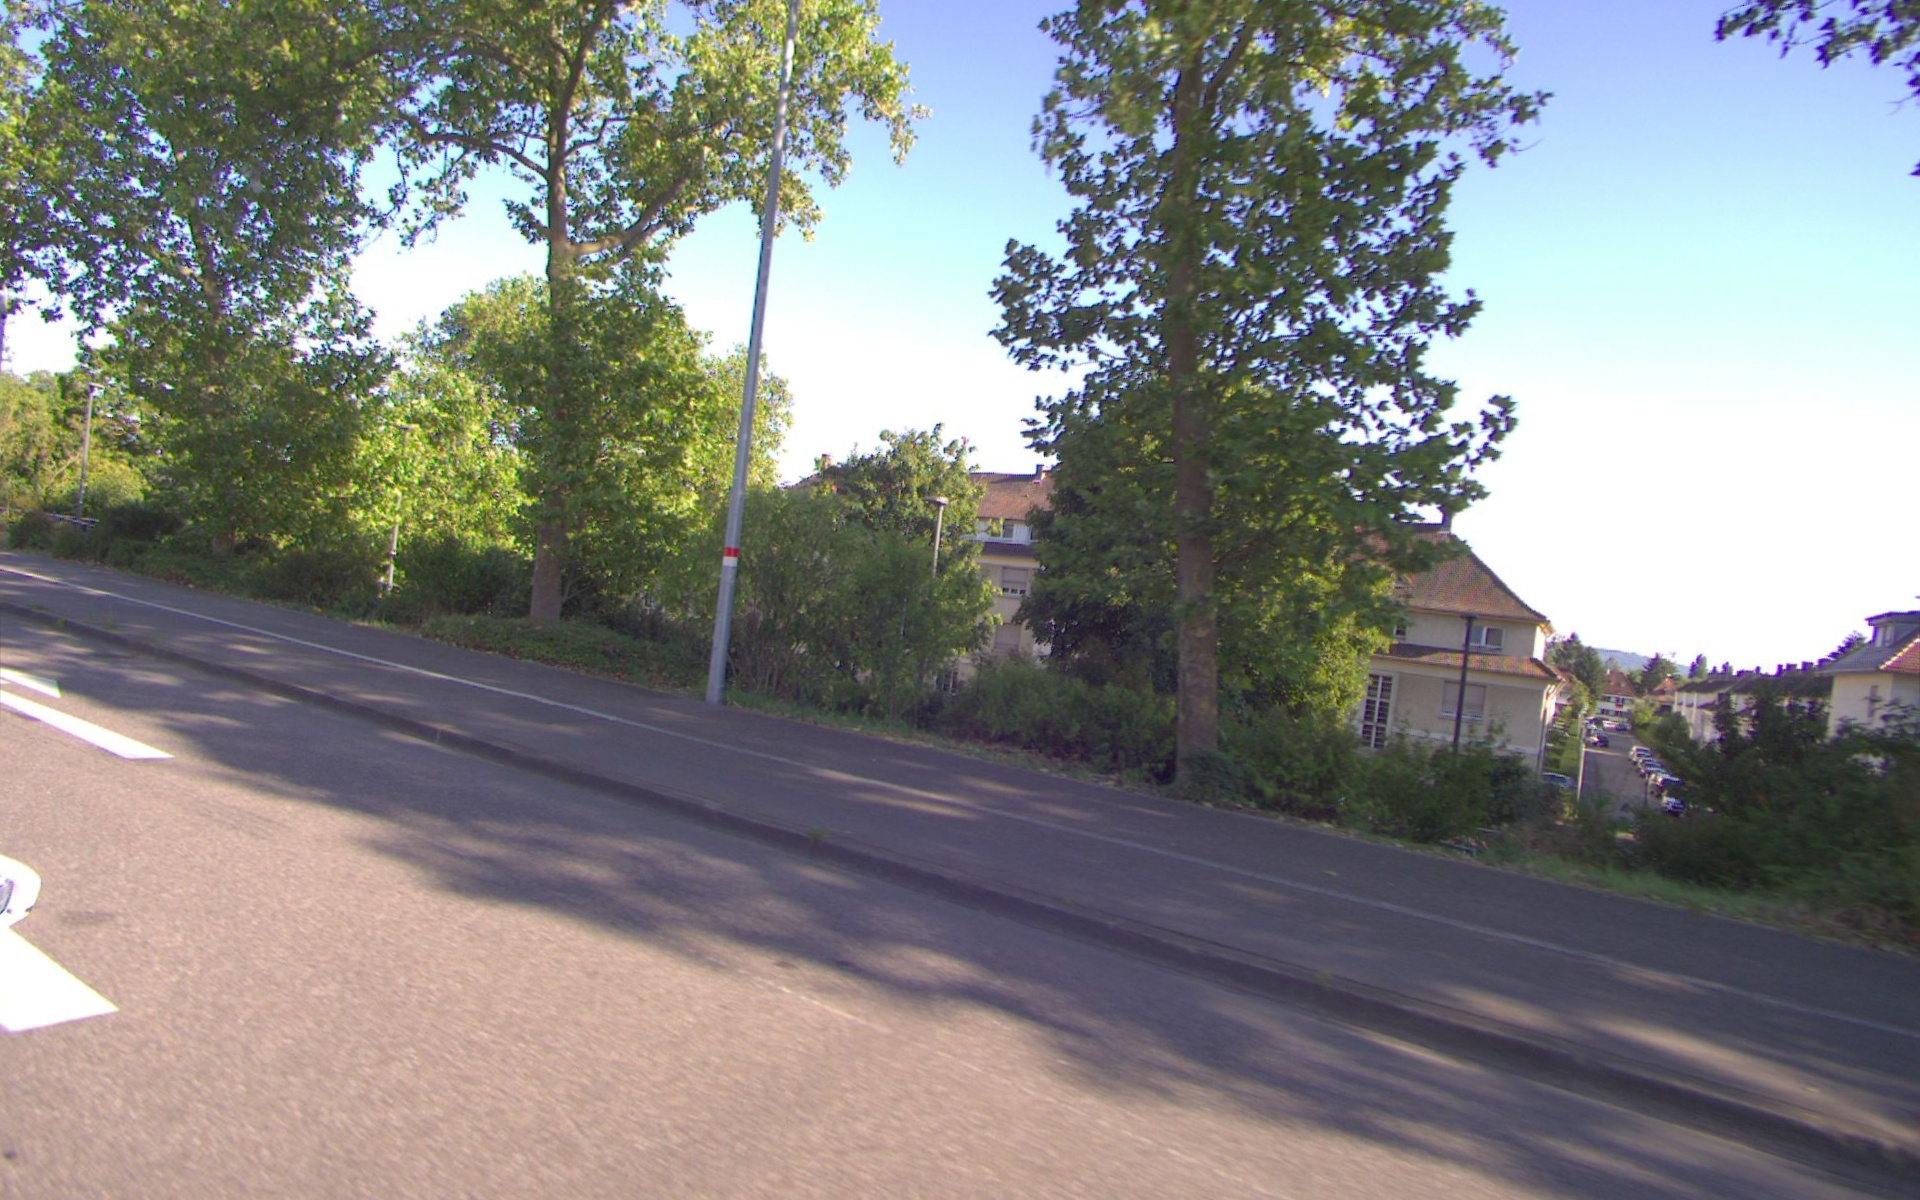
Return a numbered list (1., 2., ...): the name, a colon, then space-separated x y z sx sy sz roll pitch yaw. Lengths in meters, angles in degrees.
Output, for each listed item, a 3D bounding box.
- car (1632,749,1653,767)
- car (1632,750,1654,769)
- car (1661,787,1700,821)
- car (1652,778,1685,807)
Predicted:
1. car: 77.045 17.786 113.603 1.771 1.528 3.991 7 -1 34
2. car: 72.622 16.970 107.023 1.771 1.528 3.991 7 -1 34
3. car: 47.743 13.496 66.691 1.771 1.528 3.991 7 -1 34
4. car: 54.097 14.695 76.860 1.771 1.528 3.991 7 -1 34
